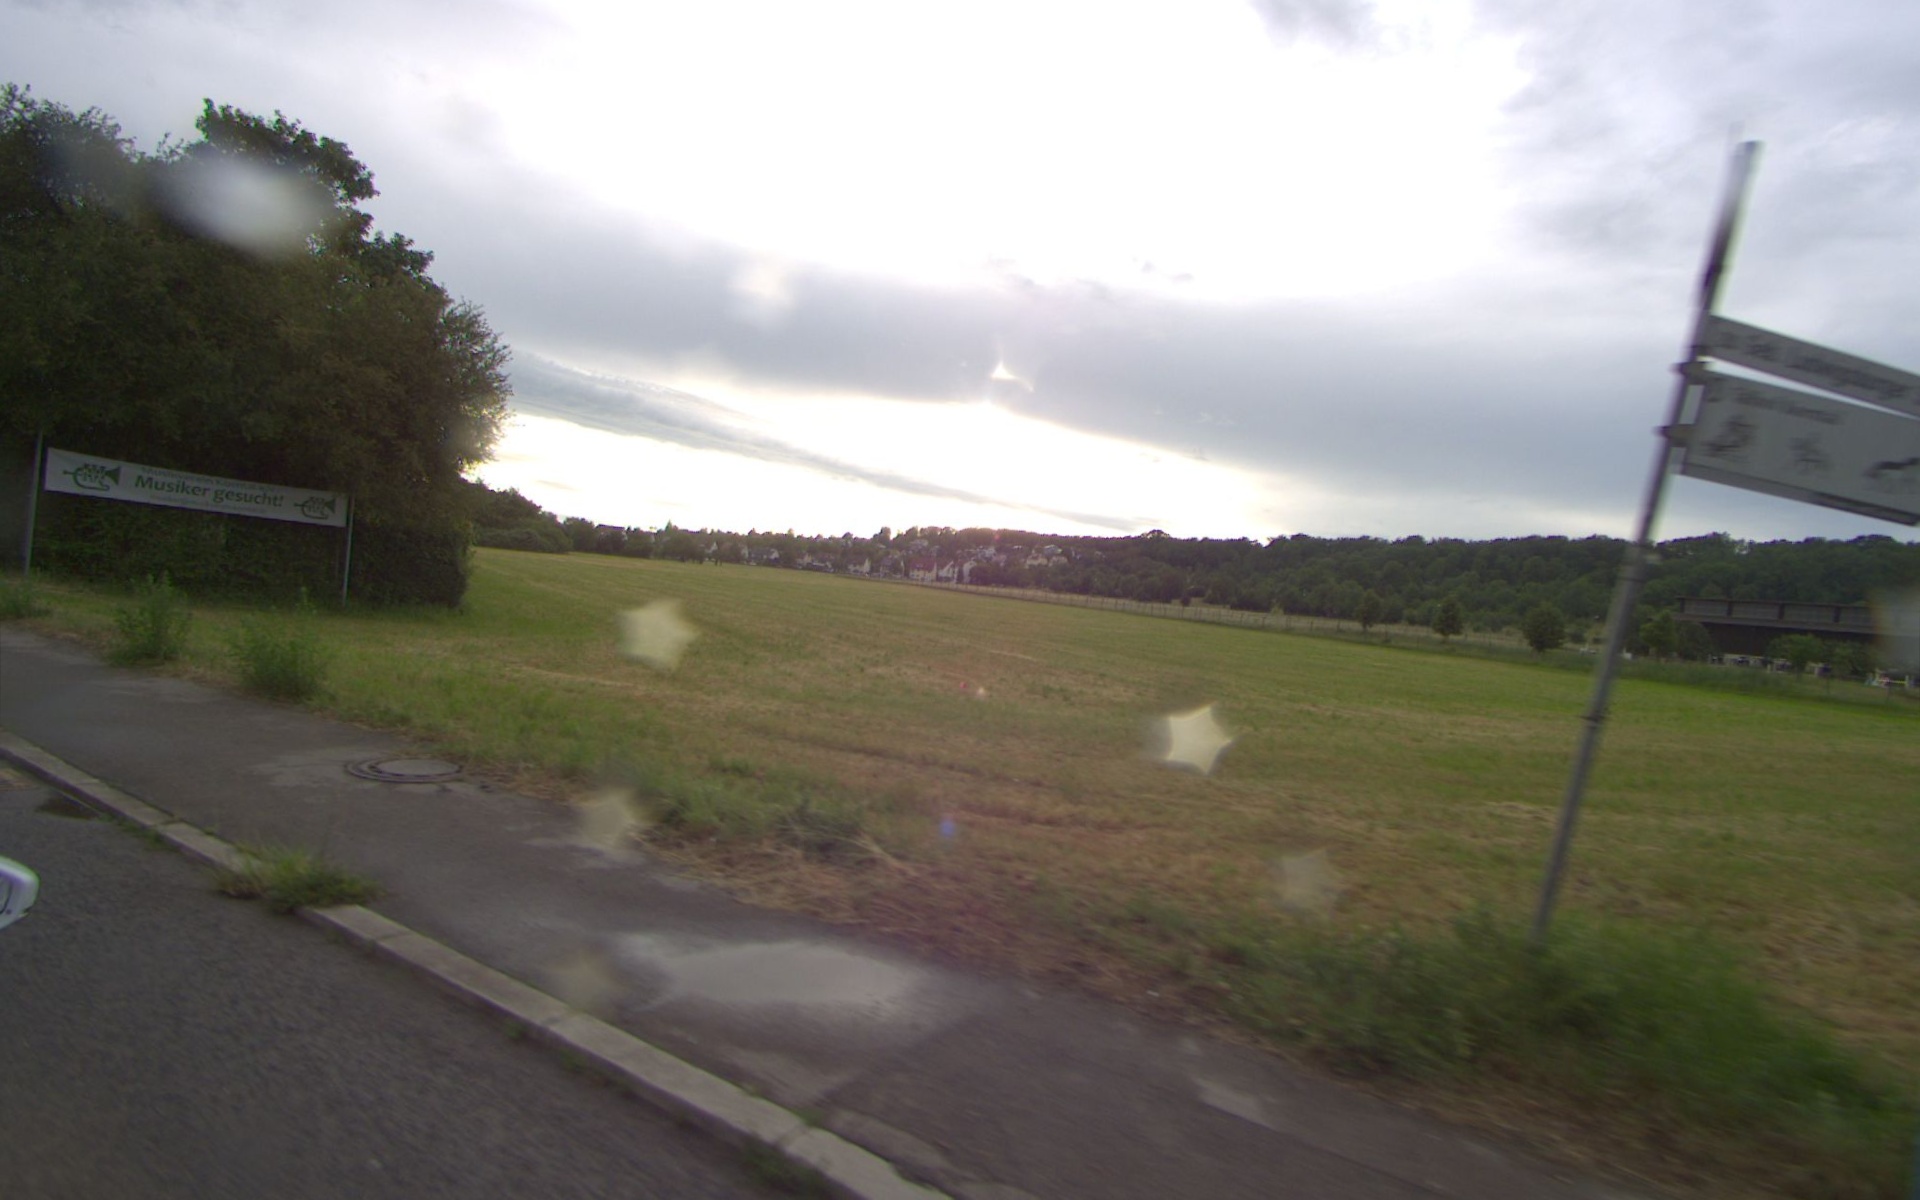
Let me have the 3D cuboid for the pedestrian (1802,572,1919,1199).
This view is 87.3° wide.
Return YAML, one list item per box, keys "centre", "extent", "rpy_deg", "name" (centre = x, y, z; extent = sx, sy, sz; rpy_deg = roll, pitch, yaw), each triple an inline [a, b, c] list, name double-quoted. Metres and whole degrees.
- centre: [2.715, 0.885, 2.337]
  extent: [0.786, 1.851, 0.695]
  rpy_deg: [6, 2, 15]
  name: "pedestrian"
